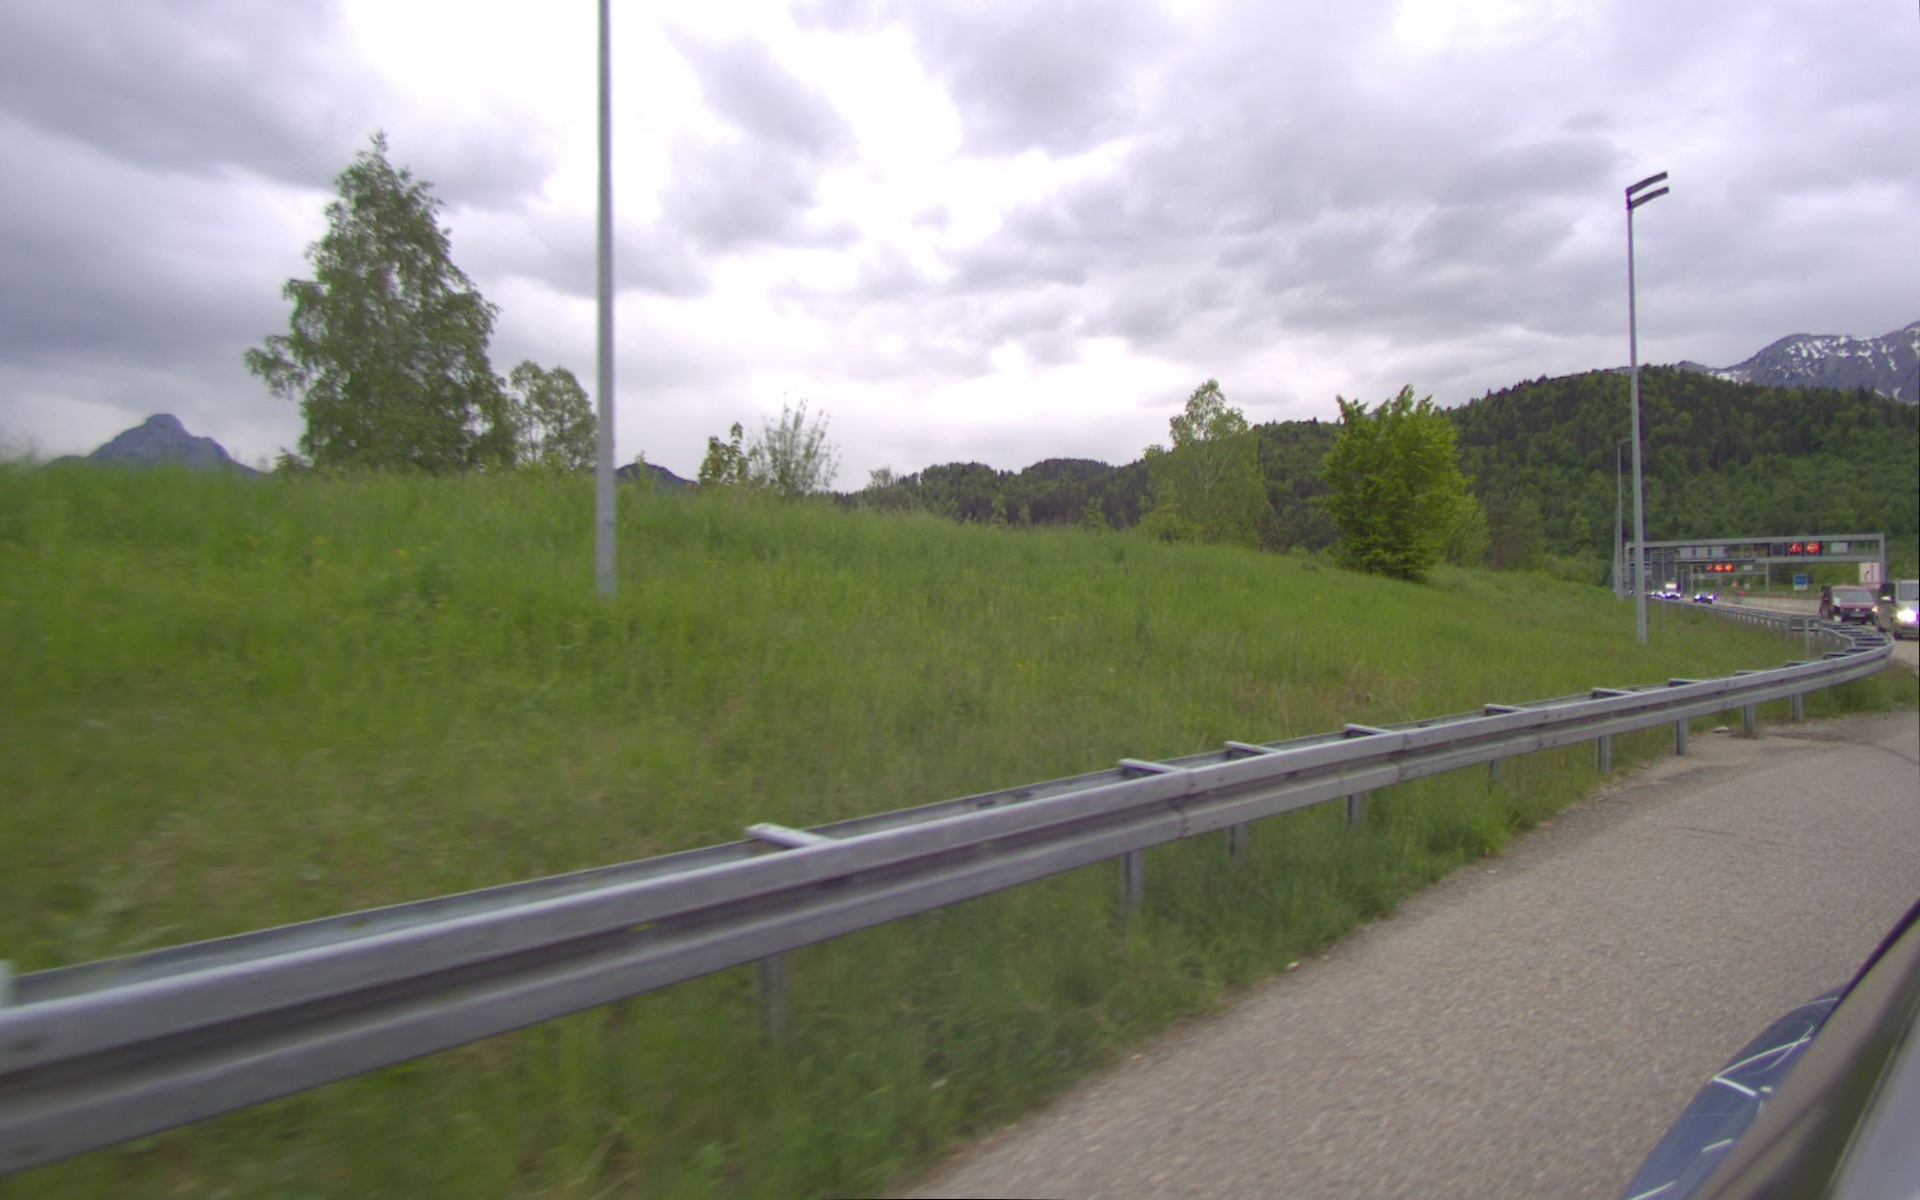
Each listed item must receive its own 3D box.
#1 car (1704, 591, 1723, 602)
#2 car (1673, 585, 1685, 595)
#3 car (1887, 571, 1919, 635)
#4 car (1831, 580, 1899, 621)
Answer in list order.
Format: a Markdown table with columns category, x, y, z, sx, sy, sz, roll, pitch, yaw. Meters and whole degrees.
| category | x | y | z | sx | sy | sz | roll | pitch | yaw |
| --- | --- | --- | --- | --- | --- | --- | --- | --- | --- |
| car | 94.787 | -0.423 | 127.265 | 1.653 | 1.354 | 3.746 | 2 | 1 | 34 |
| car | 137.181 | -1.919 | 193.087 | 1.623 | 1.719 | 3.449 | 2 | 1 | 37 |
| car | 30.733 | 0.066 | 31.844 | 1.914 | 1.905 | 5.067 | 1 | 1 | 38 |
| car | 42.138 | 0.007 | 47.205 | 1.745 | 1.828 | 3.952 | 1 | 1 | 33 |
